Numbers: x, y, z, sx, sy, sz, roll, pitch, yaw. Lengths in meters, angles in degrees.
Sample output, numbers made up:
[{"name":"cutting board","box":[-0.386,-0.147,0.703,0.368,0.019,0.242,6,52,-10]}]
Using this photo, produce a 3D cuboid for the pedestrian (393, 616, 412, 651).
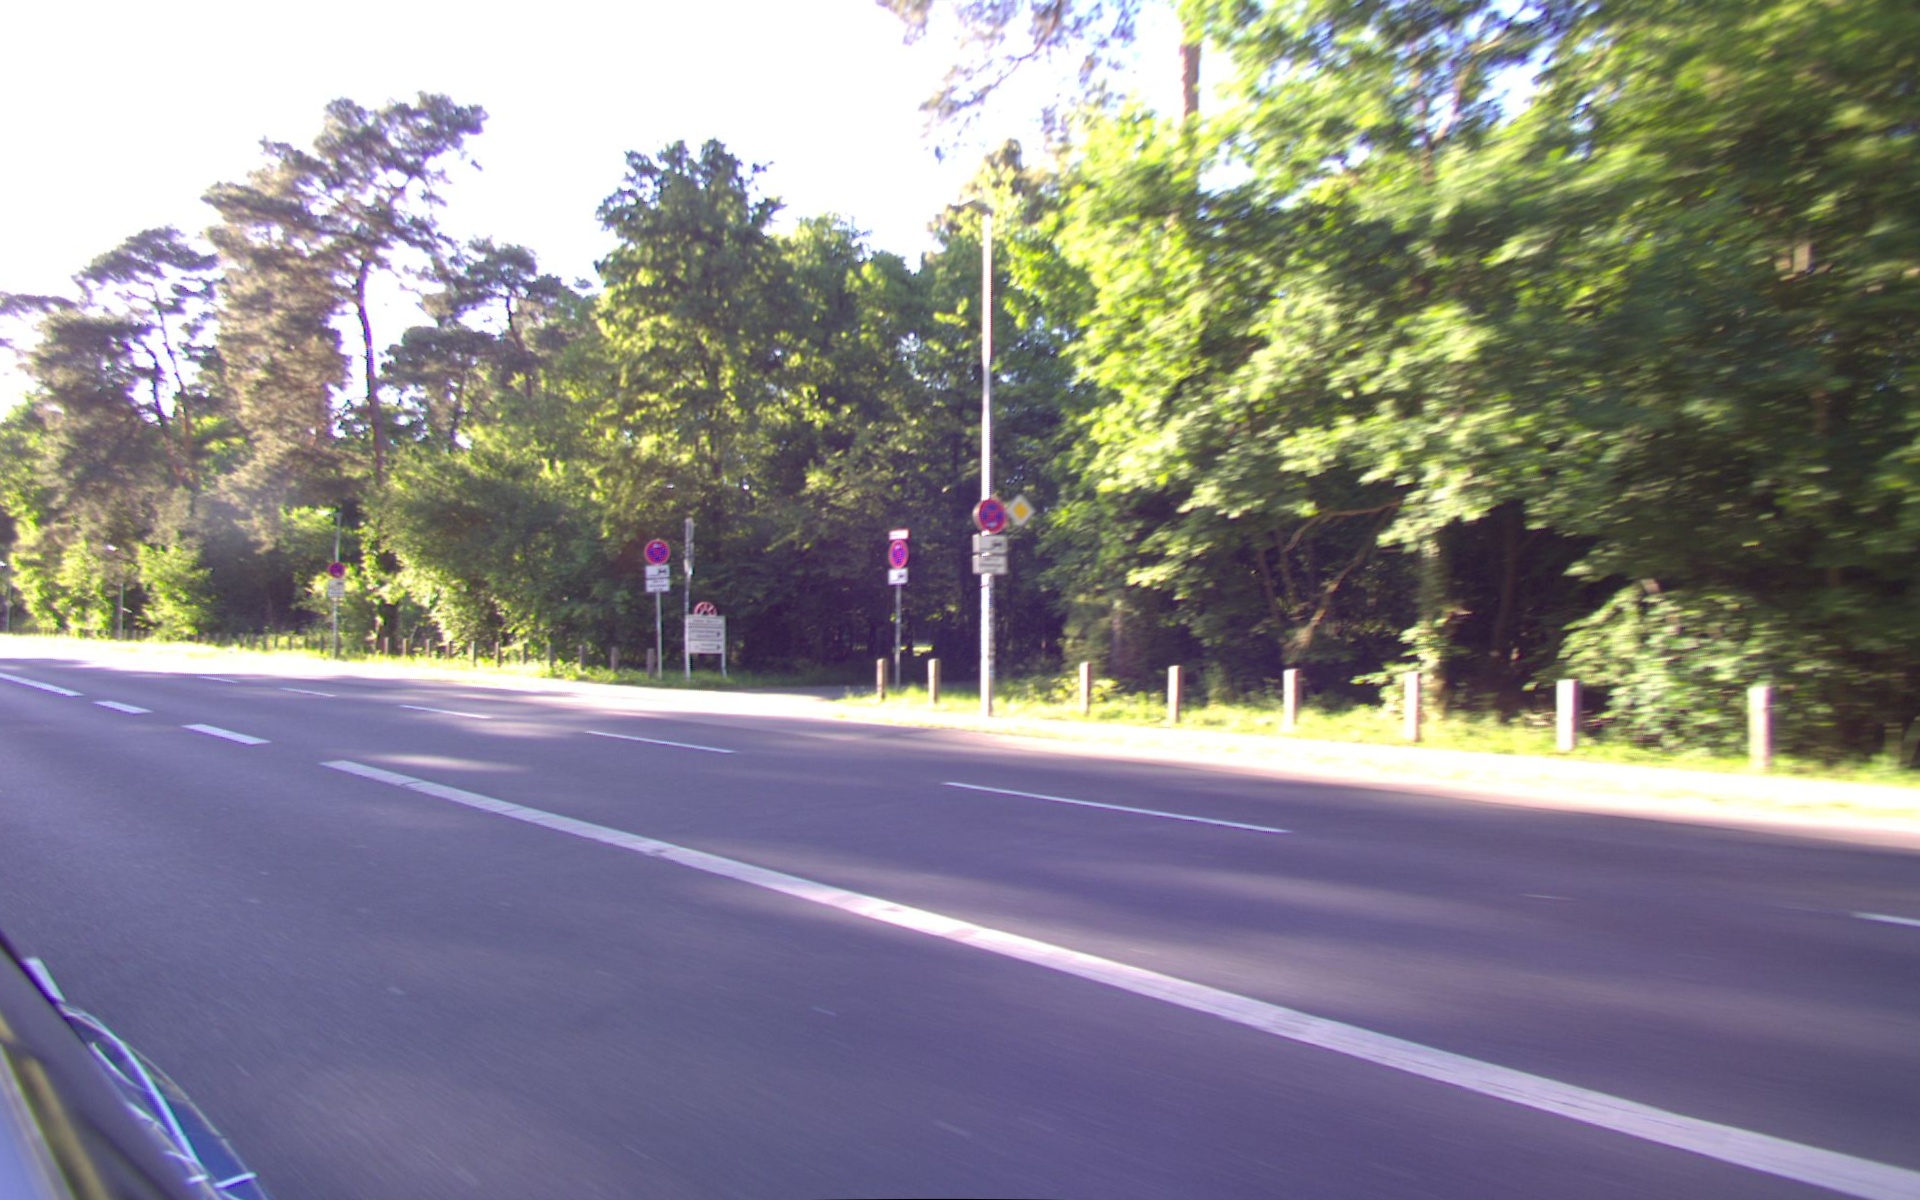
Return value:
[{"name":"pedestrian","box":[-21.352,1.267,38.762,0.512,1.325,0.465,-1,-2,41]}]
